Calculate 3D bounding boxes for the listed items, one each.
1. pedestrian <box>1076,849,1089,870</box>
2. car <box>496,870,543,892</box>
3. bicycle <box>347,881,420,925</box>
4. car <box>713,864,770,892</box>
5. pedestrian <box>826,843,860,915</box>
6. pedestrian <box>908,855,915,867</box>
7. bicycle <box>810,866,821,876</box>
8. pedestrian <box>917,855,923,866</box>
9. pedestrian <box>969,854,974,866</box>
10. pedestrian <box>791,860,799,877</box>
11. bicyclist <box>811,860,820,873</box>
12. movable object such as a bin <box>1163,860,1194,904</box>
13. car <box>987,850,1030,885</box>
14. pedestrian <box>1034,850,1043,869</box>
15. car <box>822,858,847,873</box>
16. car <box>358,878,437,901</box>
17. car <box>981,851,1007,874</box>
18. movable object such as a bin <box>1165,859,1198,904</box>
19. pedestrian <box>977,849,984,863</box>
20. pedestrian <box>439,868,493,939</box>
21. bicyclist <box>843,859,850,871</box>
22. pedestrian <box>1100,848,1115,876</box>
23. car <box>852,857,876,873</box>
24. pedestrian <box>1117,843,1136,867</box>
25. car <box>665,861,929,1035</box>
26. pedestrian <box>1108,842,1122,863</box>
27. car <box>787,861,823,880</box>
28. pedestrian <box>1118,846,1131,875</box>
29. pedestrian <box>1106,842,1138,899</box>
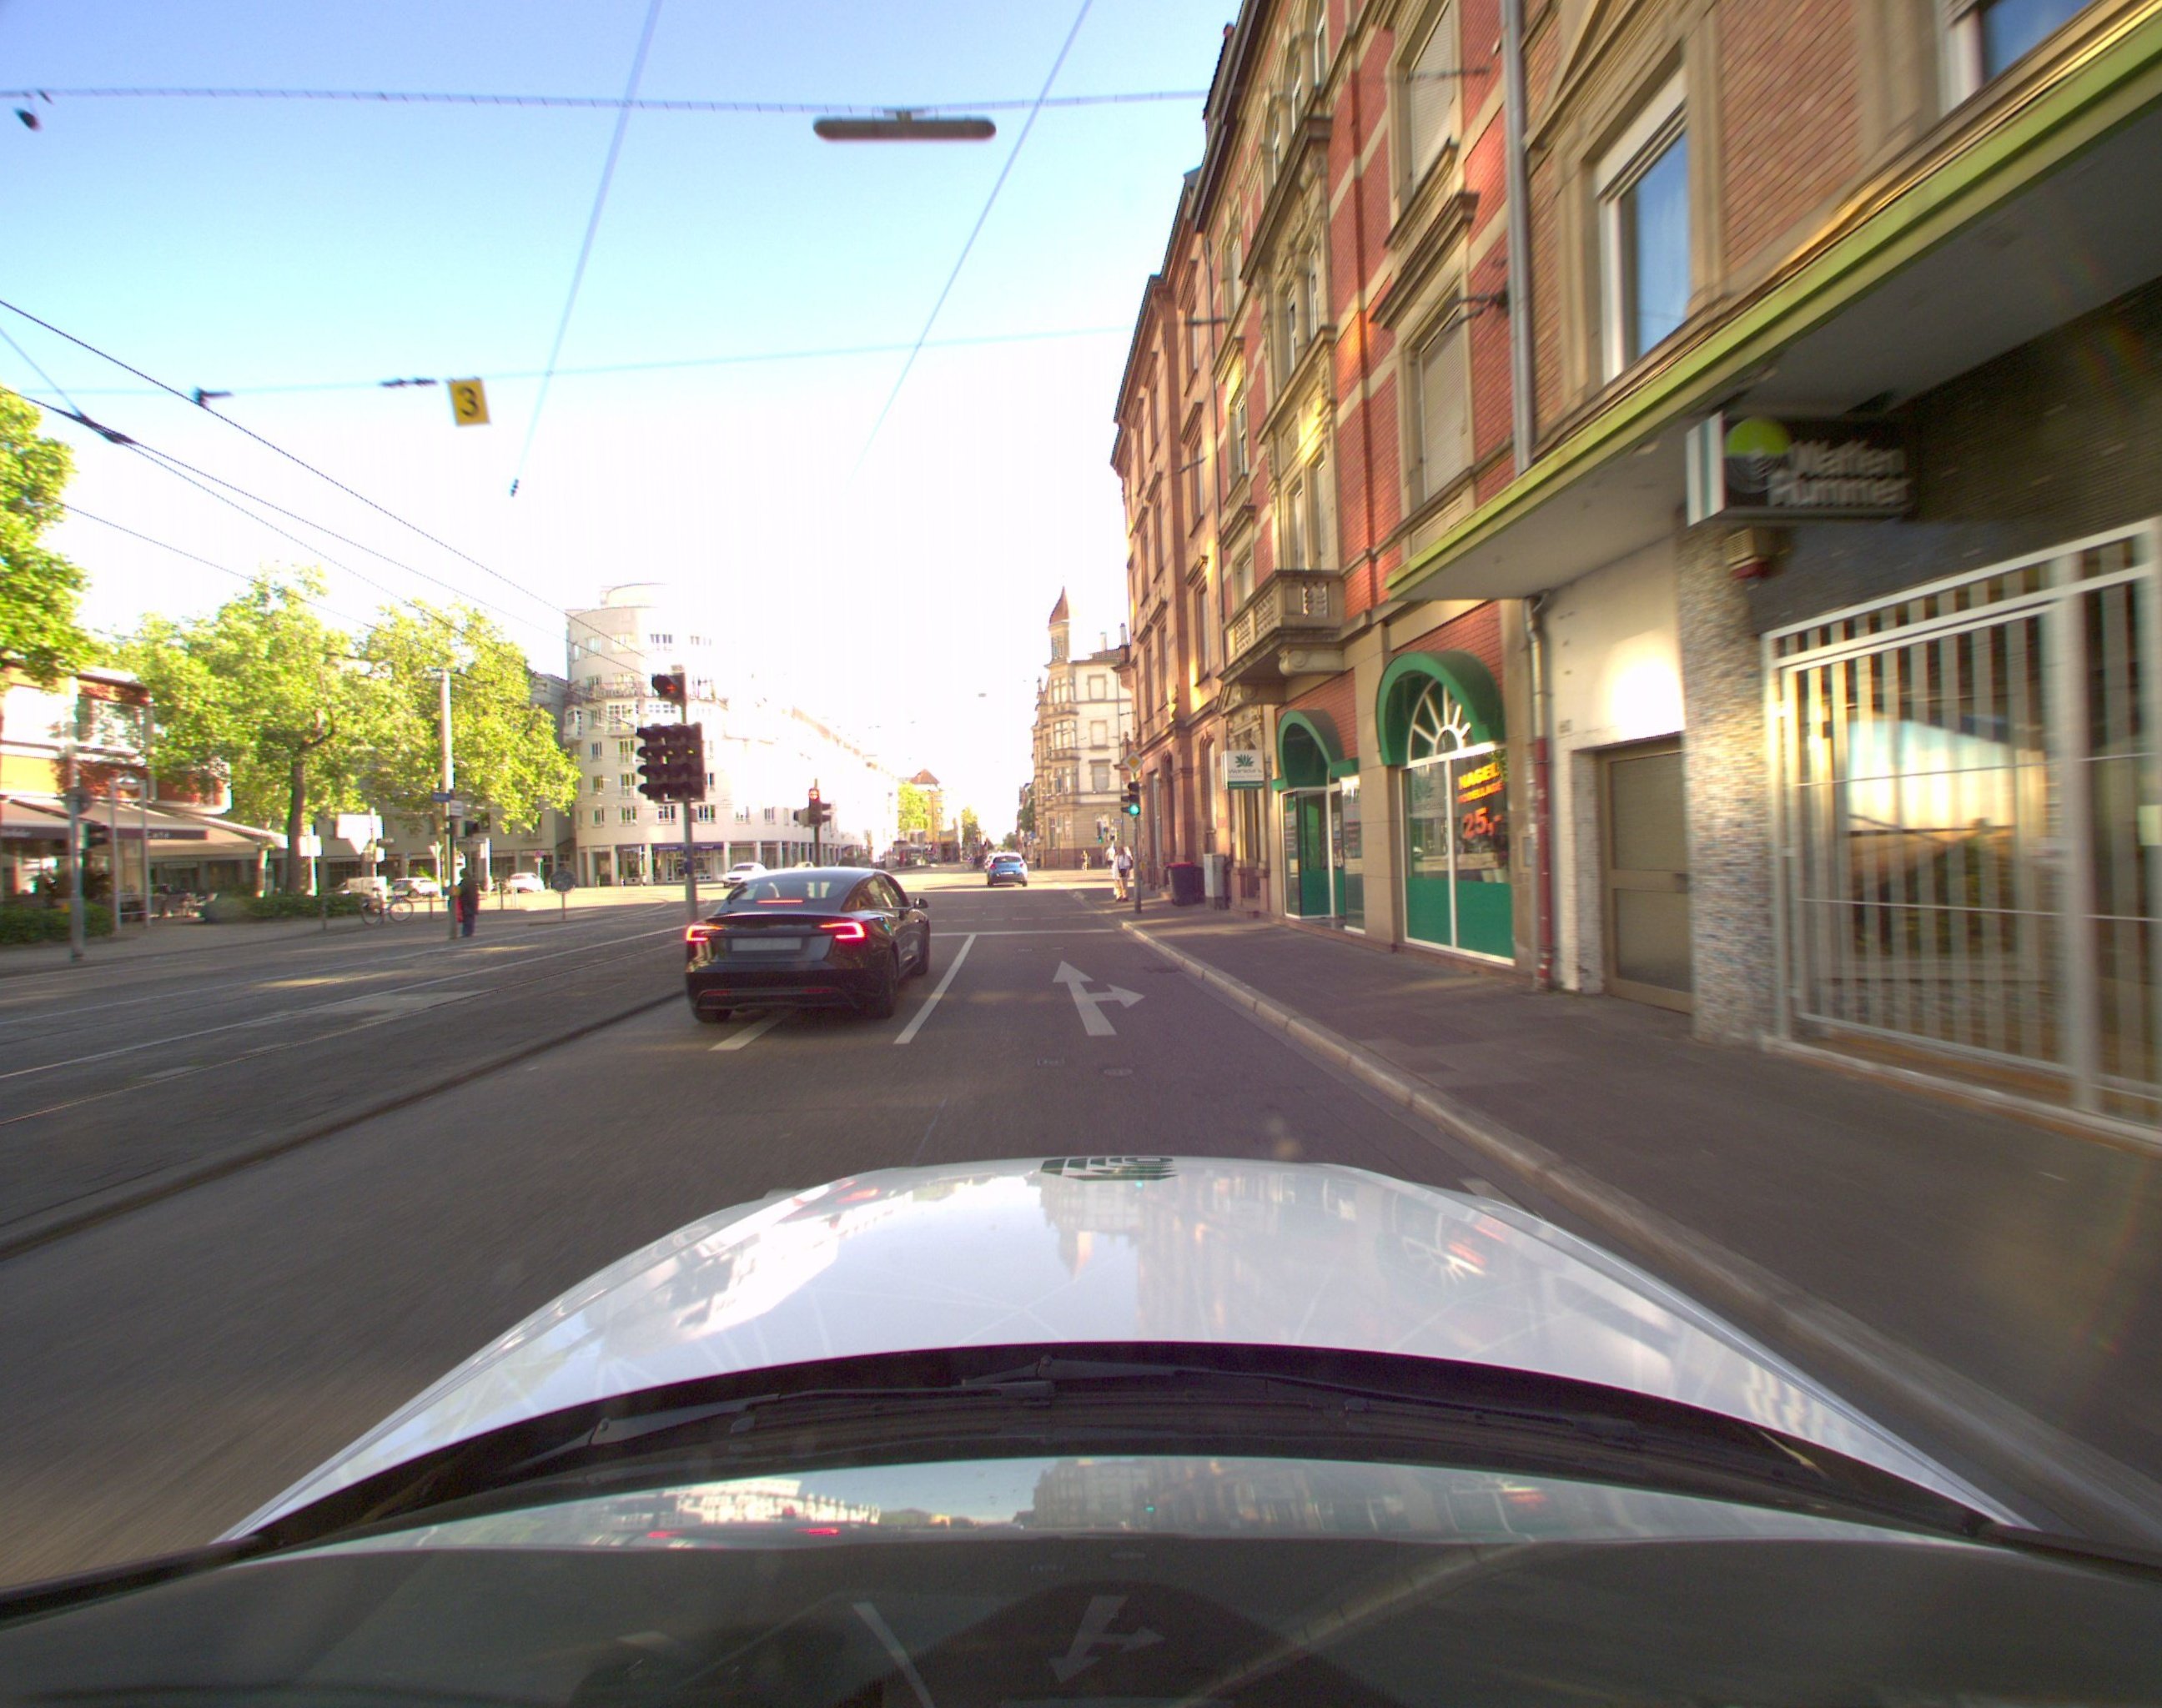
[{"bbox_3d":[0.110,0.478,65.176,0.918,1.632,0.942,-2,-1,3],"label":"pedestrian"},{"bbox_3d":[-42.580,2.043,61.833,1.803,1.402,4.076,-2,2,-19],"label":"car"},{"bbox_3d":[-21.288,1.461,24.921,0.497,1.186,2.230,-2,0,-7],"label":"bicycle"},{"bbox_3d":[-20.498,1.408,49.339,1.992,1.451,4.491,-2,0,-7],"label":"car"},{"bbox_3d":[-6.118,0.632,20.990,0.557,1.763,0.893,-4,0,-5],"label":"pedestrian"},{"bbox_3d":[-22.241,0.935,106.961,0.730,1.527,0.741,-1,1,-7],"label":"pedestrian"},{"bbox_3d":[-26.634,1.680,81.803,0.593,0.972,1.851,-2,-1,-4],"label":"bicycle"},{"bbox_3d":[-22.482,0.919,113.508,0.730,1.559,0.741,-1,1,-7],"label":"pedestrian"},{"bbox_3d":[-14.012,0.801,104.369,0.471,1.562,0.581,-2,0,-30],"label":"pedestrian"},{"bbox_3d":[-27.350,1.374,77.950,0.445,1.534,0.675,-2,2,-42],"label":"pedestrian"},{"bbox_3d":[-26.664,1.289,81.849,0.587,1.285,0.990,-2,-1,-5],"label":"bicyclist"},{"bbox_3d":[2.547,0.721,21.330,0.662,1.072,0.544,-5,0,-3],"label":"movable object such as a bin"},{"bbox_3d":[-3.218,0.576,36.304,1.778,1.451,3.647,0,0,-5],"label":"car"},{"bbox_3d":[-4.080,0.484,78.047,0.779,1.749,1.090,-1,2,-8],"label":"pedestrian"},{"bbox_3d":[-27.006,1.292,89.327,1.992,1.596,3.989,-2,-1,-7],"label":"car"},{"bbox_3d":[-48.647,2.509,57.992,3.984,1.402,1.803,-1,2,-2],"label":"car"},{"bbox_3d":[-7.015,0.698,65.706,1.990,1.743,3.992,0,-1,-5],"label":"car"},{"bbox_3d":[2.553,0.698,20.743,0.662,1.072,0.590,-5,0,-3],"label":"movable object such as a bin"},{"bbox_3d":[-12.348,0.234,100.036,0.634,1.698,0.934,0,-1,2],"label":"pedestrian"},{"bbox_3d":[-13.912,1.104,18.441,0.499,1.517,0.857,-4,0,-5],"label":"pedestrian"},{"bbox_3d":[-27.929,1.300,97.083,0.588,1.488,0.925,-2,-1,-8],"label":"bicyclist"},{"bbox_3d":[1.638,0.490,49.598,0.695,1.655,0.634,-3,-1,16],"label":"pedestrian"},{"bbox_3d":[-28.178,1.418,105.840,2.224,1.911,4.599,-2,0,-6],"label":"car"},{"bbox_3d":[3.043,0.068,54.884,0.914,1.632,0.947,-3,-1,26],"label":"pedestrian"},{"bbox_3d":[-2.783,0.805,8.990,1.808,1.424,4.145,0,0,-6],"label":"car"},{"bbox_3d":[2.556,-0.107,60.639,0.627,1.537,0.947,-3,-1,26],"label":"pedestrian"},{"bbox_3d":[-23.976,1.385,70.843,1.992,1.451,4.639,-2,0,-7],"label":"car"},{"bbox_3d":[2.659,0.384,49.671,0.638,1.745,0.708,-1,-1,16],"label":"pedestrian"},{"bbox_3d":[1.193,0.480,23.854,0.682,1.607,0.727,-2,0,-14],"label":"pedestrian"}]
